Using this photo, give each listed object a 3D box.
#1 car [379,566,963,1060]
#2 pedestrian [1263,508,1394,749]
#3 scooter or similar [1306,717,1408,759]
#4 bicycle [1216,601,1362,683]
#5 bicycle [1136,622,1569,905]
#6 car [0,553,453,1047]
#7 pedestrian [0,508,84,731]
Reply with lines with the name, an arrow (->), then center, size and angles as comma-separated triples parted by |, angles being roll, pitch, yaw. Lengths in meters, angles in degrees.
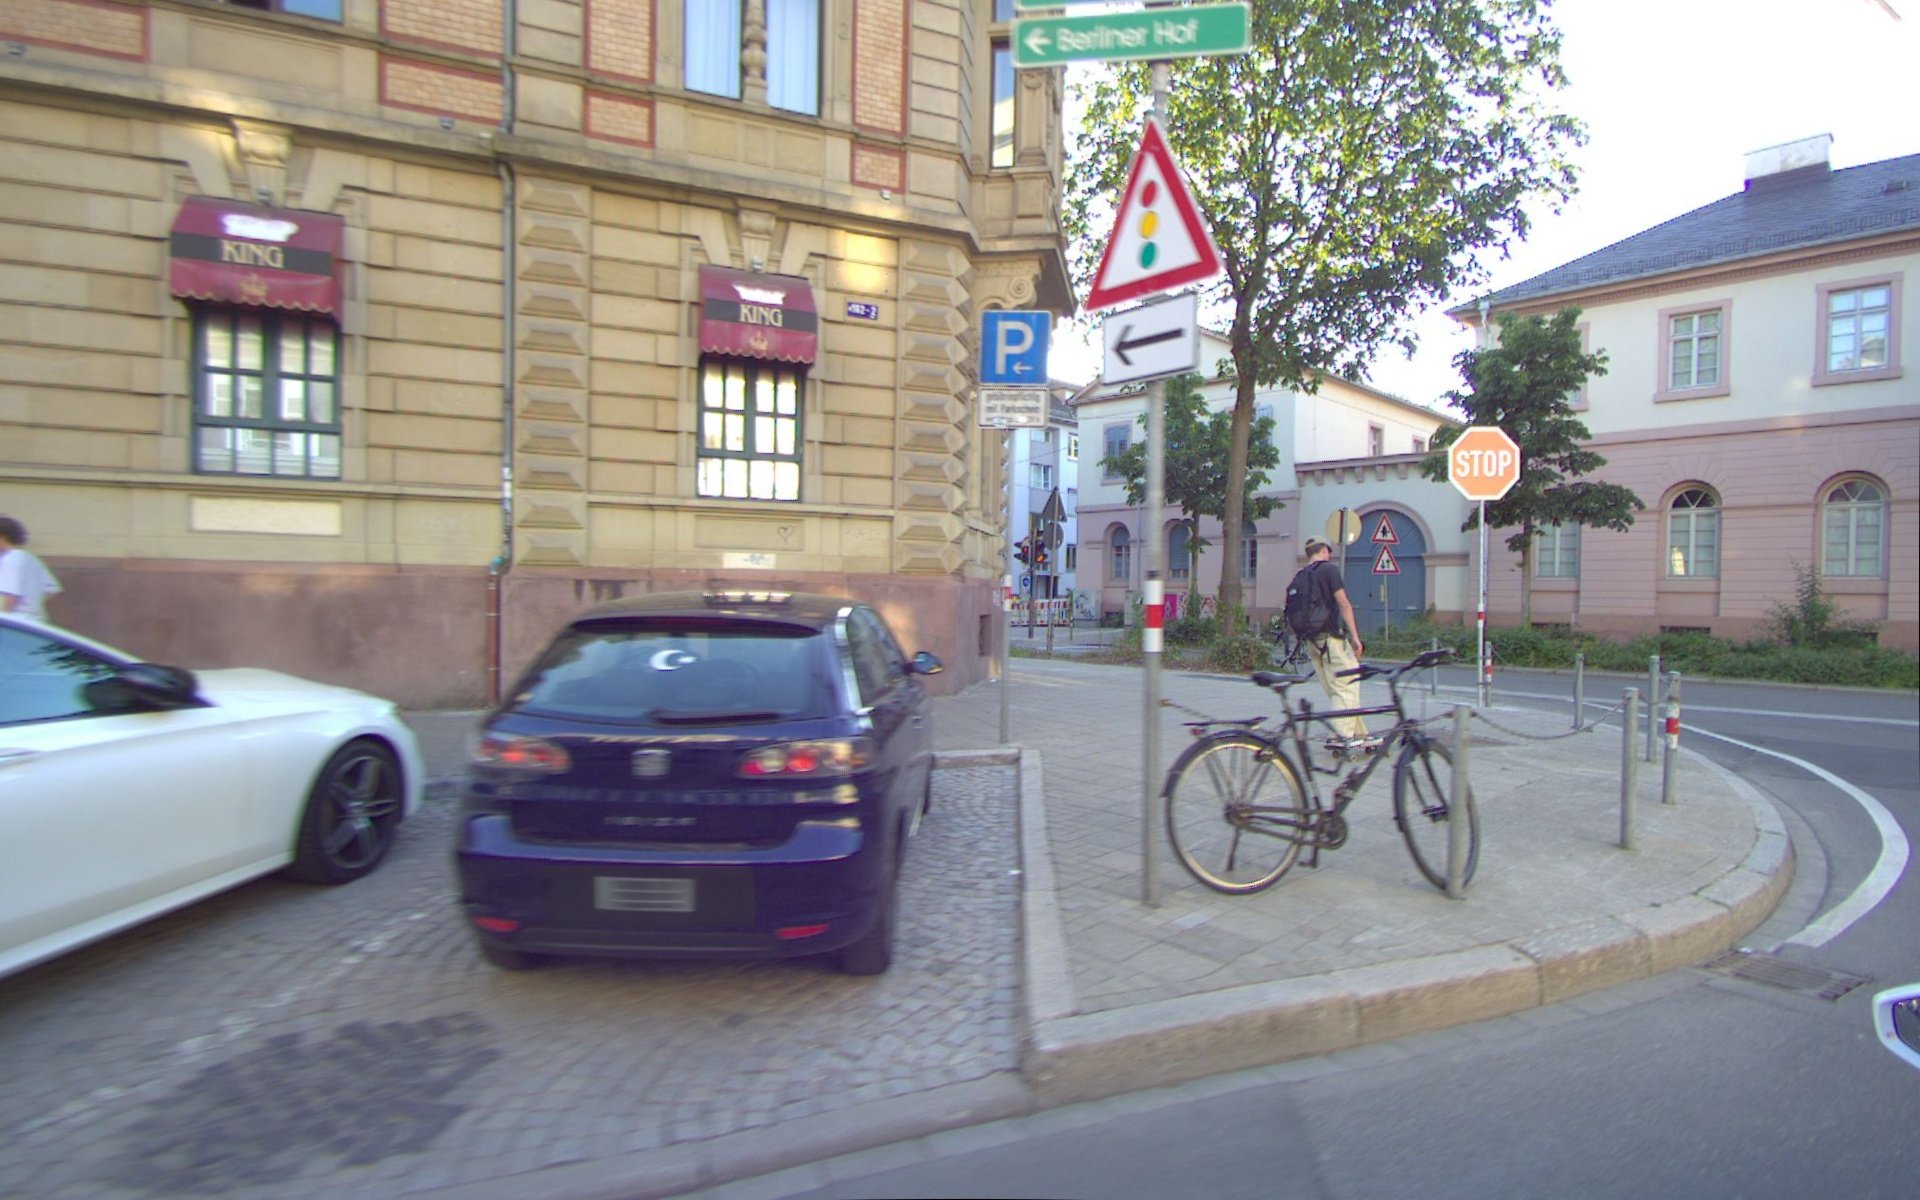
car -> -0.932, 0.625, 5.160 | 1.706, 1.481, 3.863 | 1, 3, 3
pedestrian -> 2.991, 0.174, 8.089 | 0.834, 1.763, 1.265 | 3, 4, 24
scooter or similar -> 3.162, 1.091, 7.991 | 0.875, 0.210, 0.413 | 1, 1, -43
bicycle -> 5.677, 0.673, 17.536 | 0.835, 1.284, 2.553 | 0, 1, -29
bicycle -> 1.823, 0.710, 4.761 | 1.773, 1.141, 0.726 | 1, 3, -13
car -> -3.833, 0.607, 3.169 | 1.733, 1.532, 4.630 | 1, 2, 6
pedestrian -> -7.121, 0.135, 7.628 | 0.513, 1.630, 0.575 | 0, 2, -21
